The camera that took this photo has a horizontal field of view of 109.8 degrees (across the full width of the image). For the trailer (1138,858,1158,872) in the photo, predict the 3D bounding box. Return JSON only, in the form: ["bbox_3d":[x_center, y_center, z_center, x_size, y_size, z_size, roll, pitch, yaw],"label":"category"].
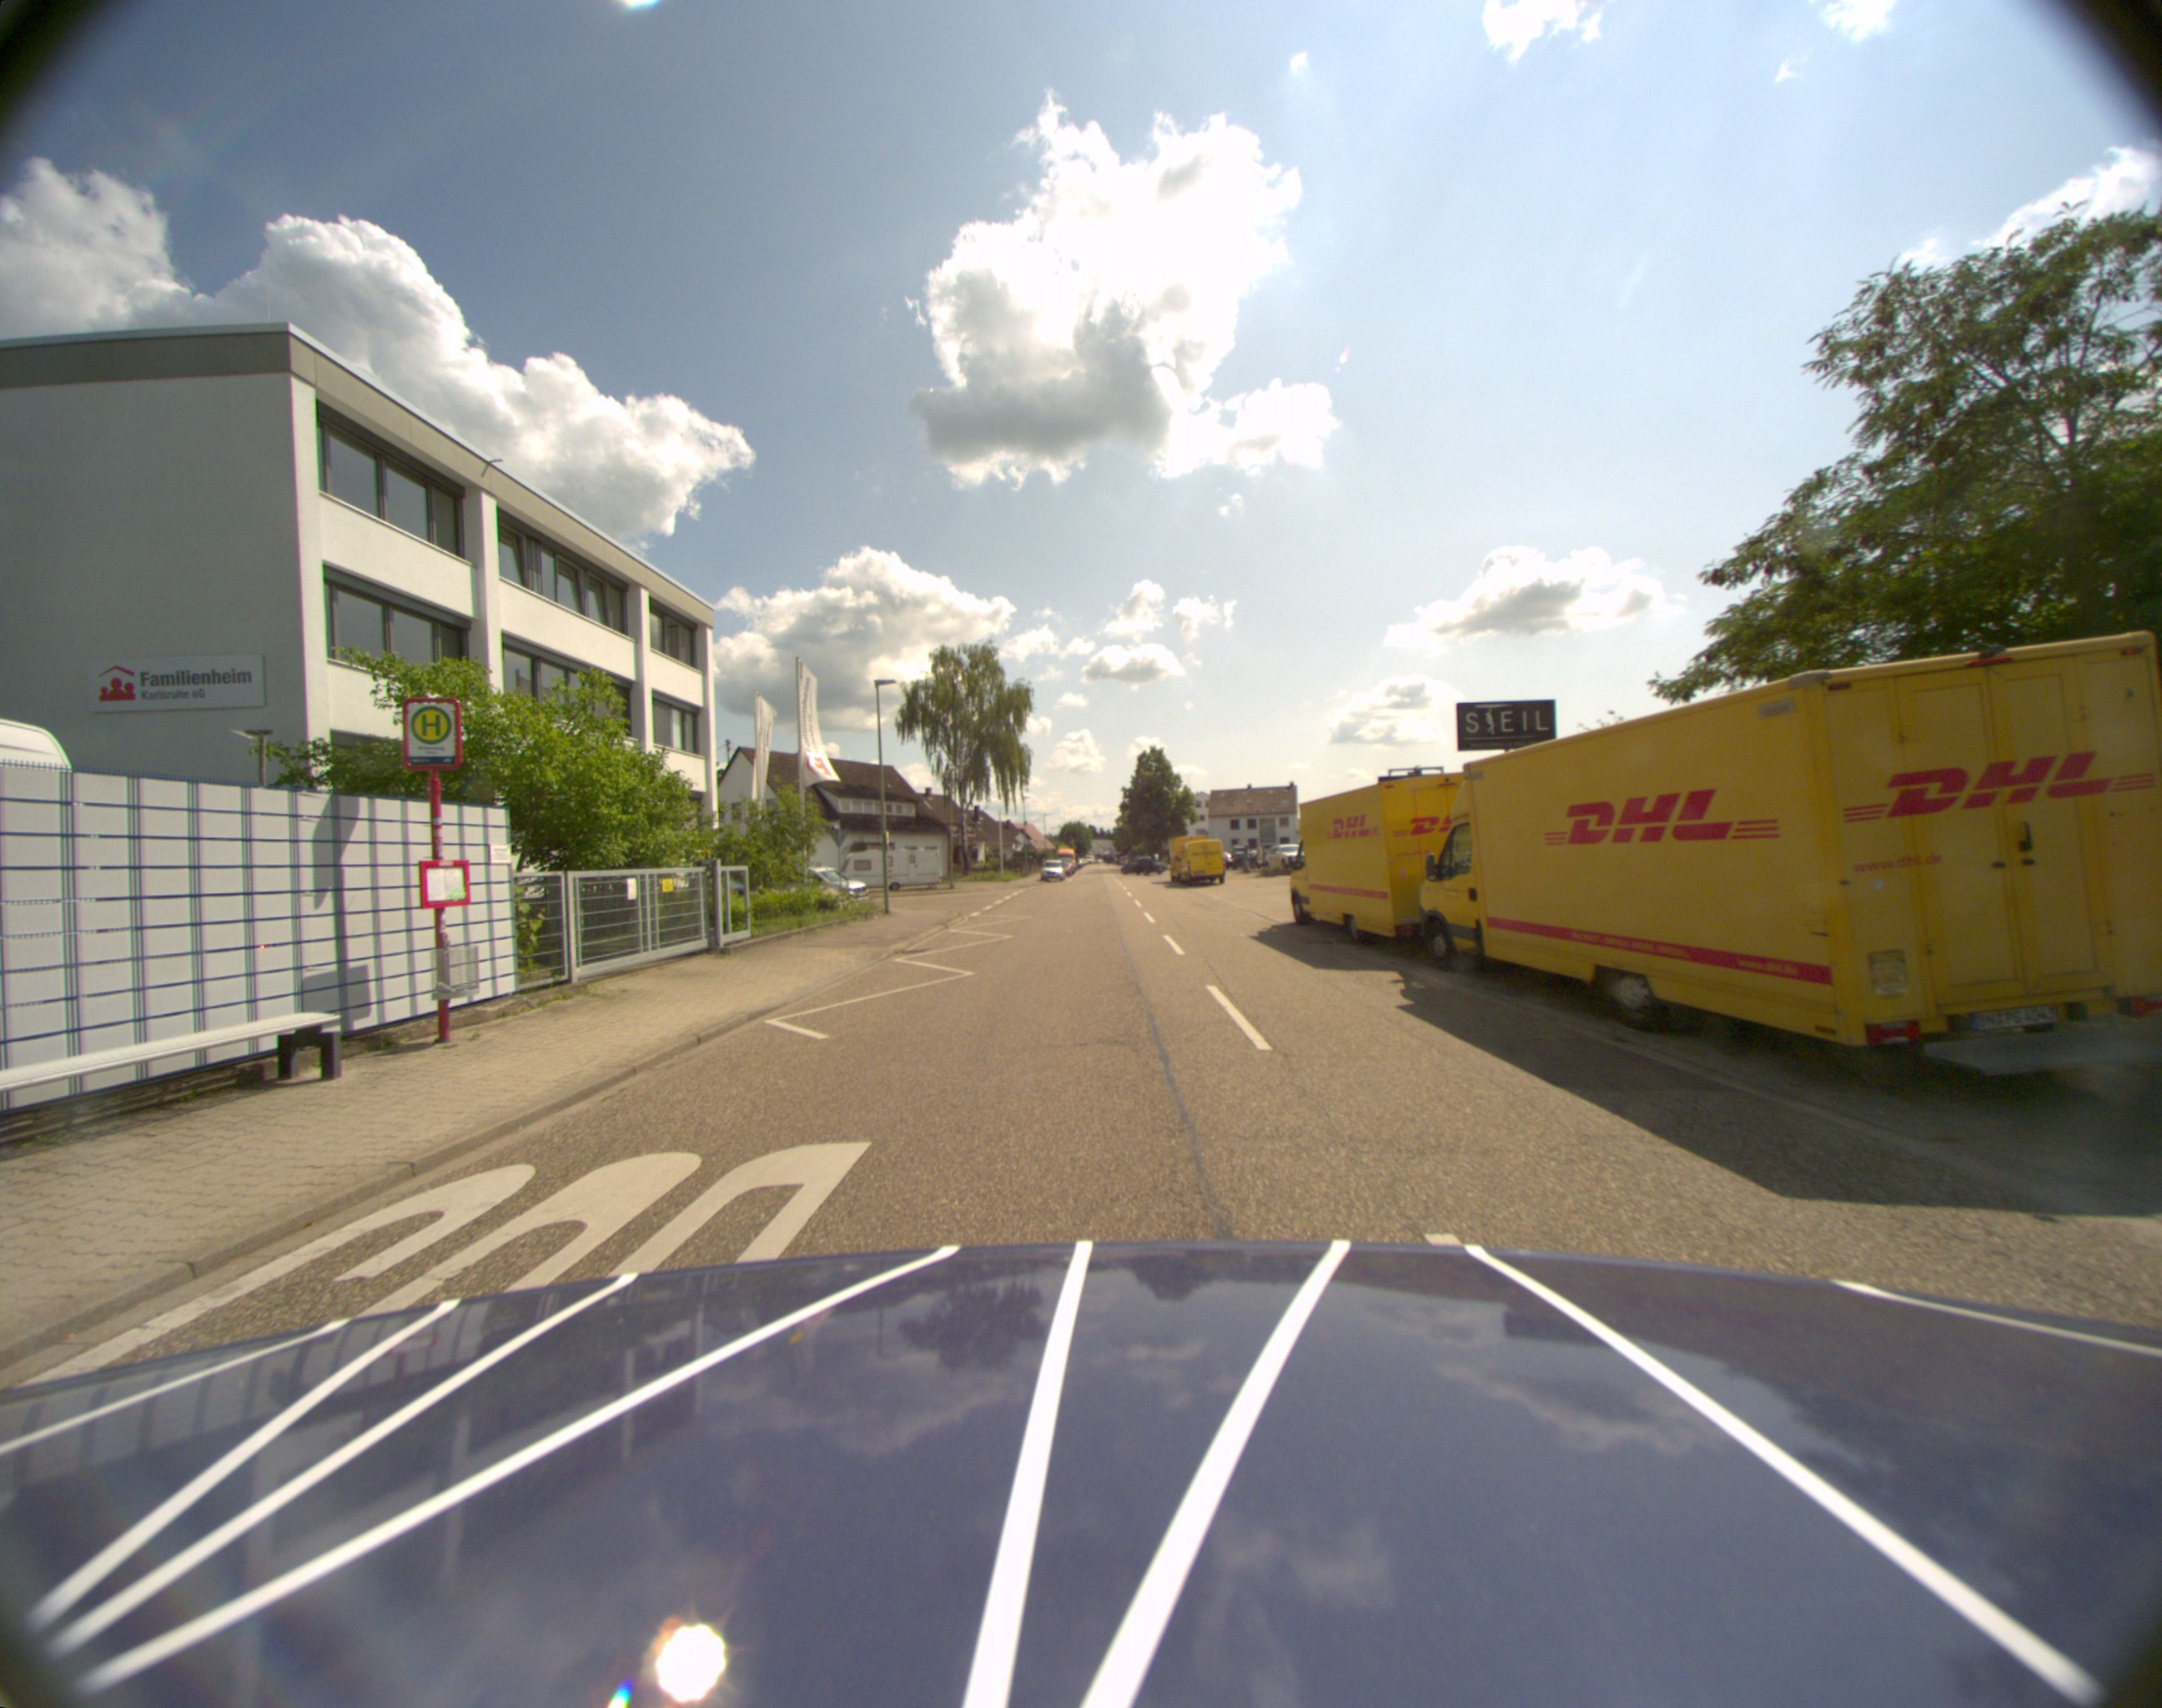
[{"bbox_3d":[7.207,1.206,82.279,1.766,1.282,4.508,-5,0,2],"label":"trailer"}]

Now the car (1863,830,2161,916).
[{"bbox_3d":[16.346,0.320,13.451,1.812,1.297,3.874,-1,-1,16],"label":"car"}]

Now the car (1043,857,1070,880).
[{"bbox_3d":[-1.822,1.055,57.542,1.614,1.571,4.001,-3,0,3],"label":"car"}]

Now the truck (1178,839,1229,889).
[{"bbox_3d":[6.625,0.520,41.747,1.998,2.399,6.065,-4,0,3],"label":"truck"}]

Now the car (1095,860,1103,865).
[{"bbox_3d":[5.241,2.463,218.629,1.818,1.513,4.268,-1,-1,10],"label":"car"}]

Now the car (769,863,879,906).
[{"bbox_3d":[-11.571,1.381,34.227,4.400,1.742,1.867,-2,1,20],"label":"car"}]

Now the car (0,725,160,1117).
[{"bbox_3d":[-9.711,0.523,4.737,4.921,2.636,2.072,-2,0,-6],"label":"car"}]

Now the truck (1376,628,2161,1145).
[{"bbox_3d":[5.651,0.185,7.928,2.322,2.846,7.105,-4,0,1],"label":"truck"}]

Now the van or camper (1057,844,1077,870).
[{"bbox_3d":[-1.465,0.307,81.145,1.999,2.648,5.769,-2,0,0],"label":"van or camper"}]

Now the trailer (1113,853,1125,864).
[{"bbox_3d":[11.222,1.397,224.477,2.841,3.051,8.889,-2,0,-1],"label":"trailer"}]

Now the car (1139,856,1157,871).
[{"bbox_3d":[7.632,1.059,87.087,1.837,1.519,4.238,-4,0,3],"label":"car"}]

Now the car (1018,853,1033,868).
[{"bbox_3d":[-7.118,0.818,97.674,1.862,1.854,5.019,-2,0,-3],"label":"car"}]

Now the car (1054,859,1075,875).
[{"bbox_3d":[-1.482,1.169,68.938,1.673,1.327,4.438,-2,0,1],"label":"car"}]

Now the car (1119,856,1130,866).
[{"bbox_3d":[8.648,1.395,149.788,1.814,1.795,4.491,-5,0,1],"label":"car"}]

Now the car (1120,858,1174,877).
[{"bbox_3d":[5.888,1.224,68.126,2.003,1.386,4.581,-4,0,-43],"label":"car"}]

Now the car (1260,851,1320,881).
[{"bbox_3d":[12.773,0.719,46.788,1.834,1.695,4.705,-2,0,-7],"label":"car"}]

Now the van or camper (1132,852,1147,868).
[{"bbox_3d":[9.230,0.882,120.285,1.998,2.303,5.935,-5,0,4],"label":"van or camper"}]

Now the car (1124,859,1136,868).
[{"bbox_3d":[9.309,1.805,143.934,1.753,1.452,4.709,-5,-1,-1],"label":"car"}]

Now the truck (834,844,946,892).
[{"bbox_3d":[-11.551,0.820,45.955,6.066,2.562,2.561,-3,0,-25],"label":"truck"}]

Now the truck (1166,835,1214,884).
[{"bbox_3d":[6.894,0.340,48.876,2.225,2.840,7.070,-4,0,3],"label":"truck"}]

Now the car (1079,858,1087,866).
[{"bbox_3d":[0.512,1.911,174.941,1.896,1.763,4.709,-2,0,1],"label":"car"}]

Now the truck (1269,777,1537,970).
[{"bbox_3d":[5.839,0.316,15.265,2.274,2.838,7.174,-3,0,1],"label":"truck"}]

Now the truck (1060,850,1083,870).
[{"bbox_3d":[-1.182,0.771,96.642,2.528,2.286,5.896,-4,0,2],"label":"truck"}]
